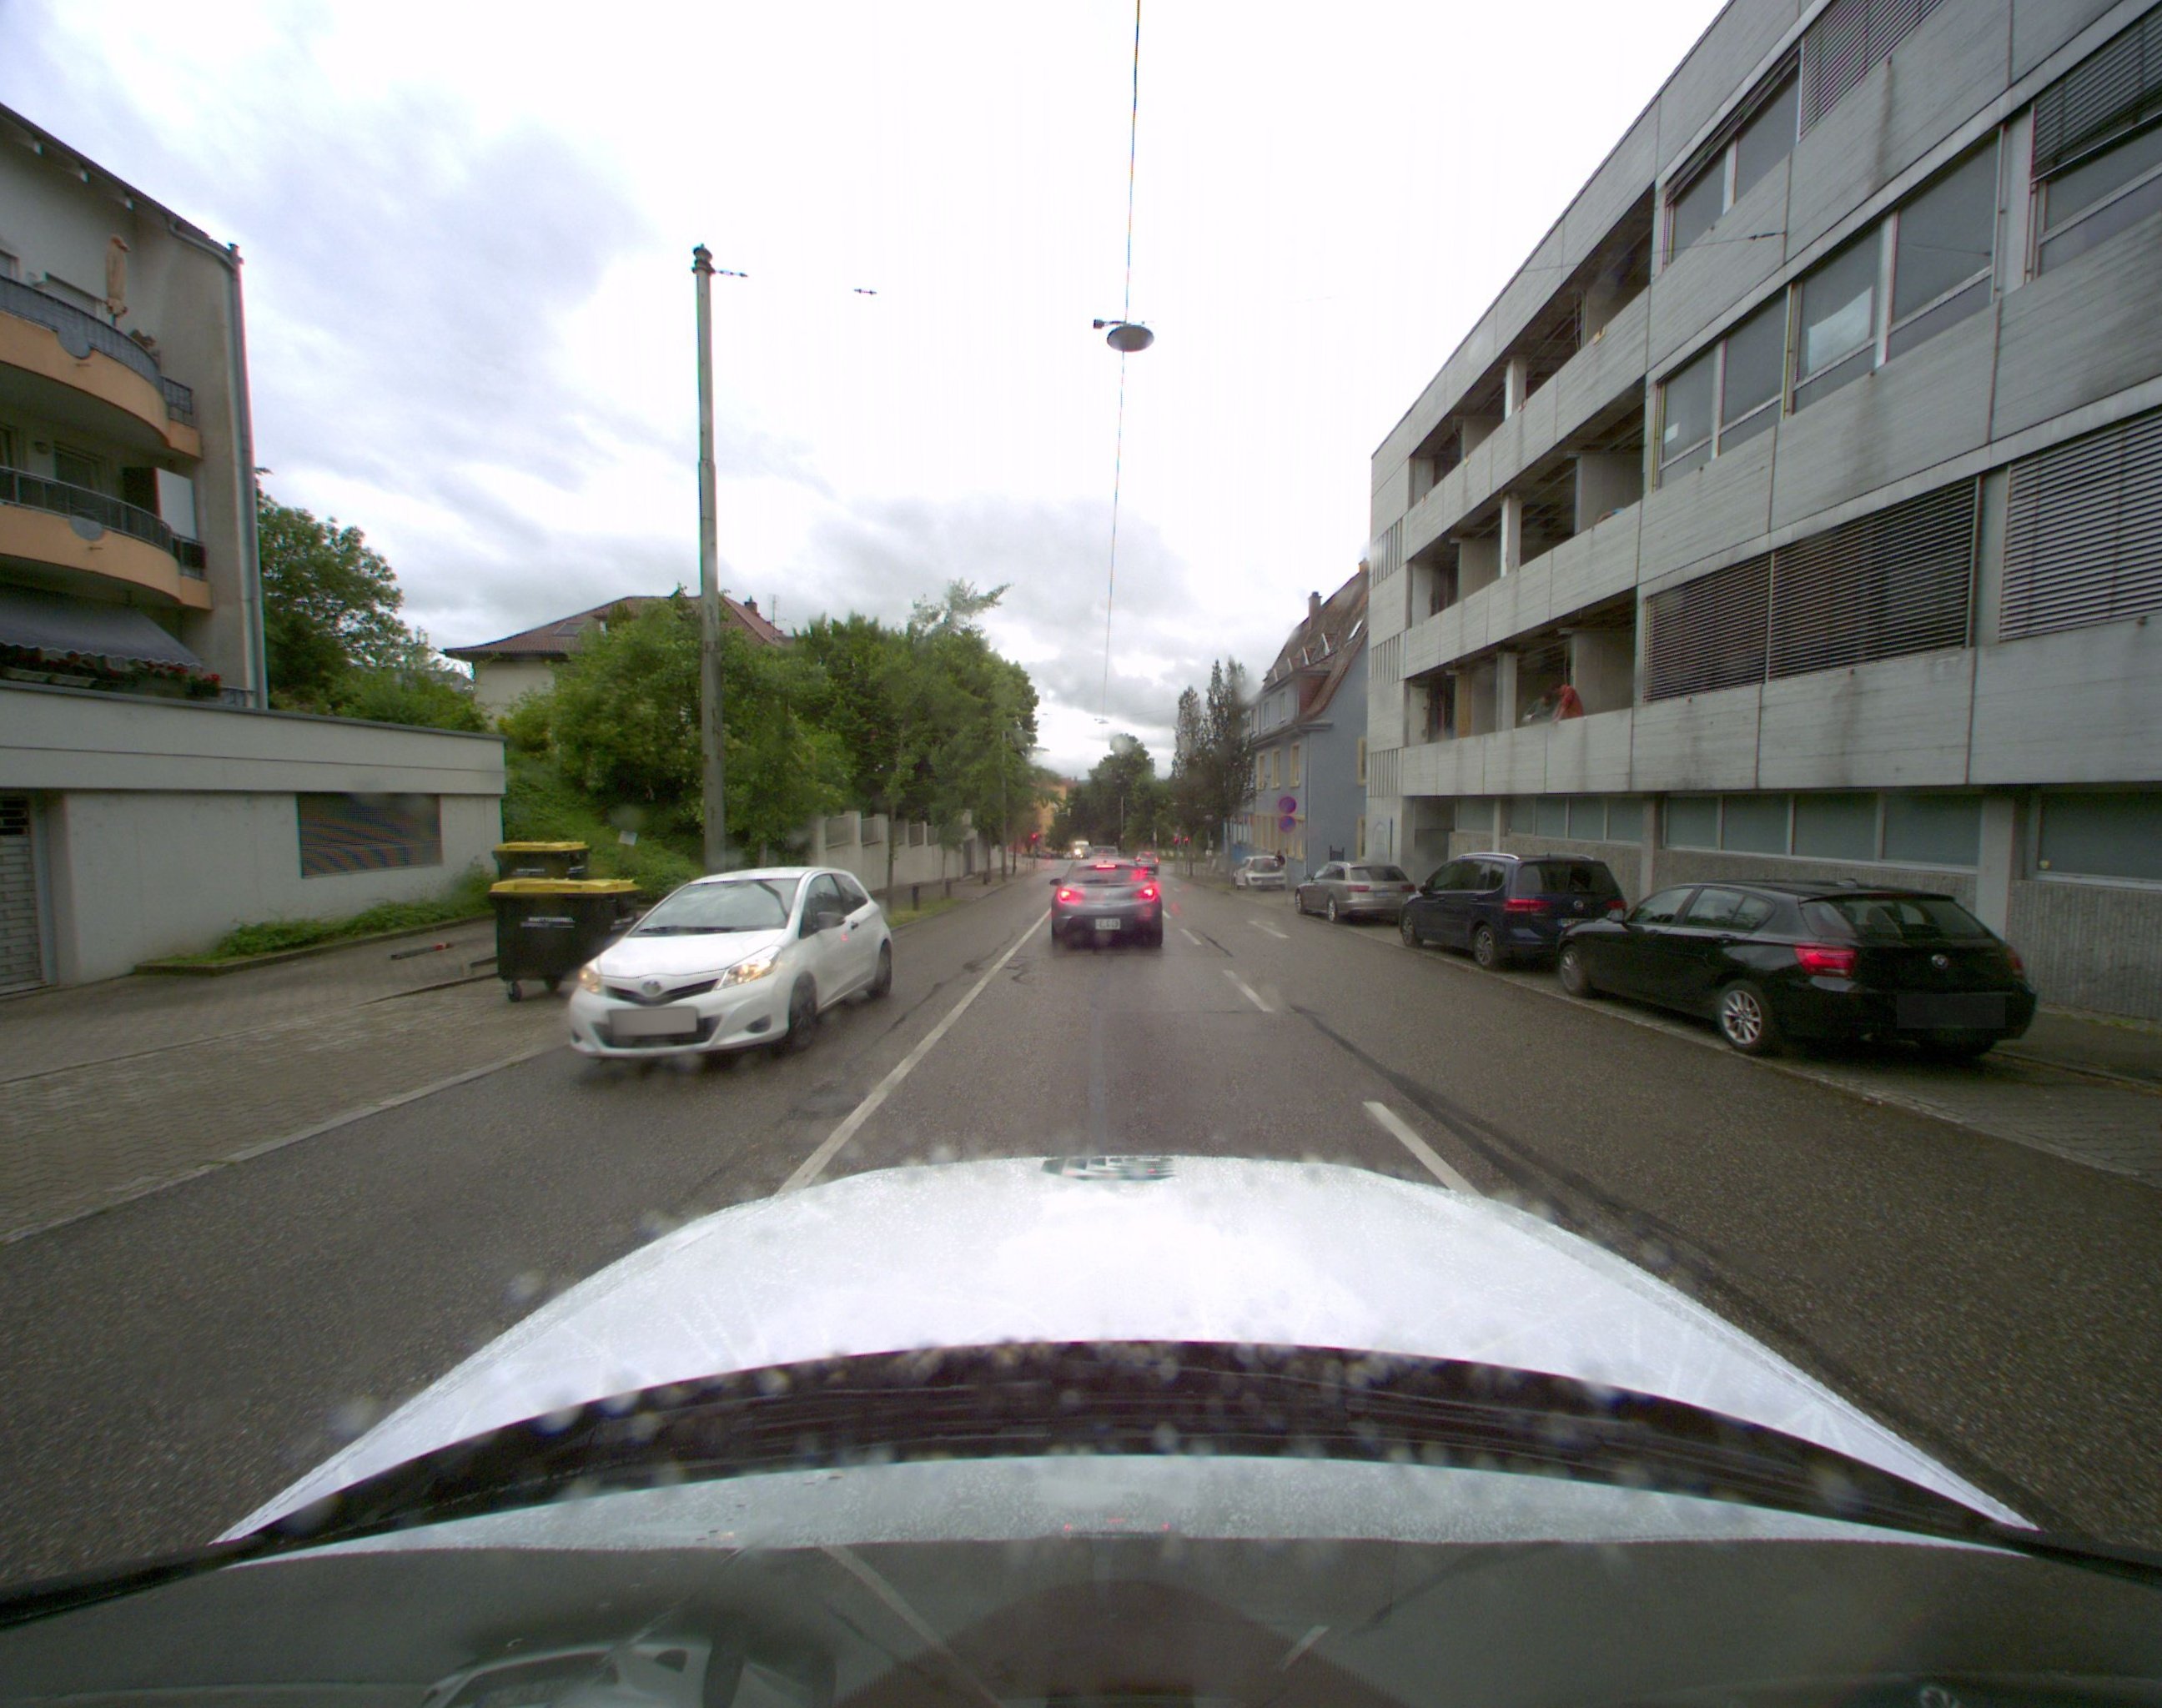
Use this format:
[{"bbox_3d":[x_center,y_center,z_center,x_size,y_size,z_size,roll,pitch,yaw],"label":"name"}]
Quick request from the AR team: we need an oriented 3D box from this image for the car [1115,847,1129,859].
[{"bbox_3d":[5.784,-0.147,115.391,1.718,1.638,3.877,-1,0,-2],"label":"car"}]

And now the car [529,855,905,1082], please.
[{"bbox_3d":[-3.047,0.828,7.795,1.703,1.531,3.843,-3,0,1],"label":"car"}]

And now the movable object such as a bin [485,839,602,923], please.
[{"bbox_3d":[-9.871,0.469,15.032,1.296,1.363,1.225,0,6,-6],"label":"movable object such as a bin"}]

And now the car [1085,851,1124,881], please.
[{"bbox_3d":[1.231,0.605,43.626,1.955,1.448,4.305,1,0,0],"label":"car"}]

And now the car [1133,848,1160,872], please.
[{"bbox_3d":[4.915,0.428,61.592,1.717,1.714,3.879,-1,0,0],"label":"car"}]

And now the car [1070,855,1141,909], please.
[{"bbox_3d":[0.713,0.792,24.862,1.955,1.448,4.305,1,0,0],"label":"car"}]

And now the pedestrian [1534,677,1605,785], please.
[{"bbox_3d":[9.697,-2.415,16.197,0.904,2.014,0.861,0,-1,1],"label":"pedestrian"}]

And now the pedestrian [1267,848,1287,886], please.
[{"bbox_3d":[9.051,0.581,37.679,0.780,1.729,0.651,1,0,1],"label":"pedestrian"}]

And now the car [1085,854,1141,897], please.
[{"bbox_3d":[1.131,0.749,30.578,1.955,1.448,4.305,1,0,0],"label":"car"}]

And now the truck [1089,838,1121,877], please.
[{"bbox_3d":[1.538,0.192,53.628,1.955,2.429,4.936,1,0,0],"label":"truck"}]

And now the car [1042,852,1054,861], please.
[{"bbox_3d":[-6.080,0.461,147.637,1.722,1.638,3.867,1,-1,-9],"label":"car"}]

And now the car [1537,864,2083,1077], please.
[{"bbox_3d":[6.405,0.867,7.969,1.740,1.448,4.256,-1,0,4],"label":"car"}]

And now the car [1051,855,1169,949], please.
[{"bbox_3d":[0.453,0.756,14.727,1.831,1.434,3.879,-1,0,0],"label":"car"}]

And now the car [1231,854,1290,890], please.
[{"bbox_3d":[7.666,0.728,35.084,1.717,1.448,3.880,-1,0,0],"label":"car"}]

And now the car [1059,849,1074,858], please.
[{"bbox_3d":[-2.658,-0.067,146.027,1.726,1.543,3.858,-1,0,-16],"label":"car"}]

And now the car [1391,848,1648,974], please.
[{"bbox_3d":[6.463,0.732,12.605,1.723,1.599,4.160,-1,0,0],"label":"car"}]

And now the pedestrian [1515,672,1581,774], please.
[{"bbox_3d":[9.879,-2.748,17.252,0.904,2.014,0.861,0,-1,1],"label":"pedestrian"}]

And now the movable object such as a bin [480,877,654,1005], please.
[{"bbox_3d":[-5.808,0.942,9.315,1.296,1.306,1.153,0,1,-7],"label":"movable object such as a bin"}]

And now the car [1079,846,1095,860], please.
[{"bbox_3d":[0.742,-0.081,99.193,1.864,1.638,3.880,-1,0,0],"label":"car"}]

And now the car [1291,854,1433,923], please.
[{"bbox_3d":[6.774,0.761,20.212,1.956,1.448,4.526,-1,0,0],"label":"car"}]

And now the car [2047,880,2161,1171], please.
[{"bbox_3d":[6.386,0.864,2.336,1.987,1.435,4.442,0,0,0],"label":"car"}]

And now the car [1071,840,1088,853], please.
[{"bbox_3d":[-0.202,-0.986,106.859,1.721,1.638,3.870,-1,0,-7],"label":"car"}]

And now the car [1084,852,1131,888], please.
[{"bbox_3d":[1.117,0.664,35.963,1.955,1.448,4.305,1,0,0],"label":"car"}]
